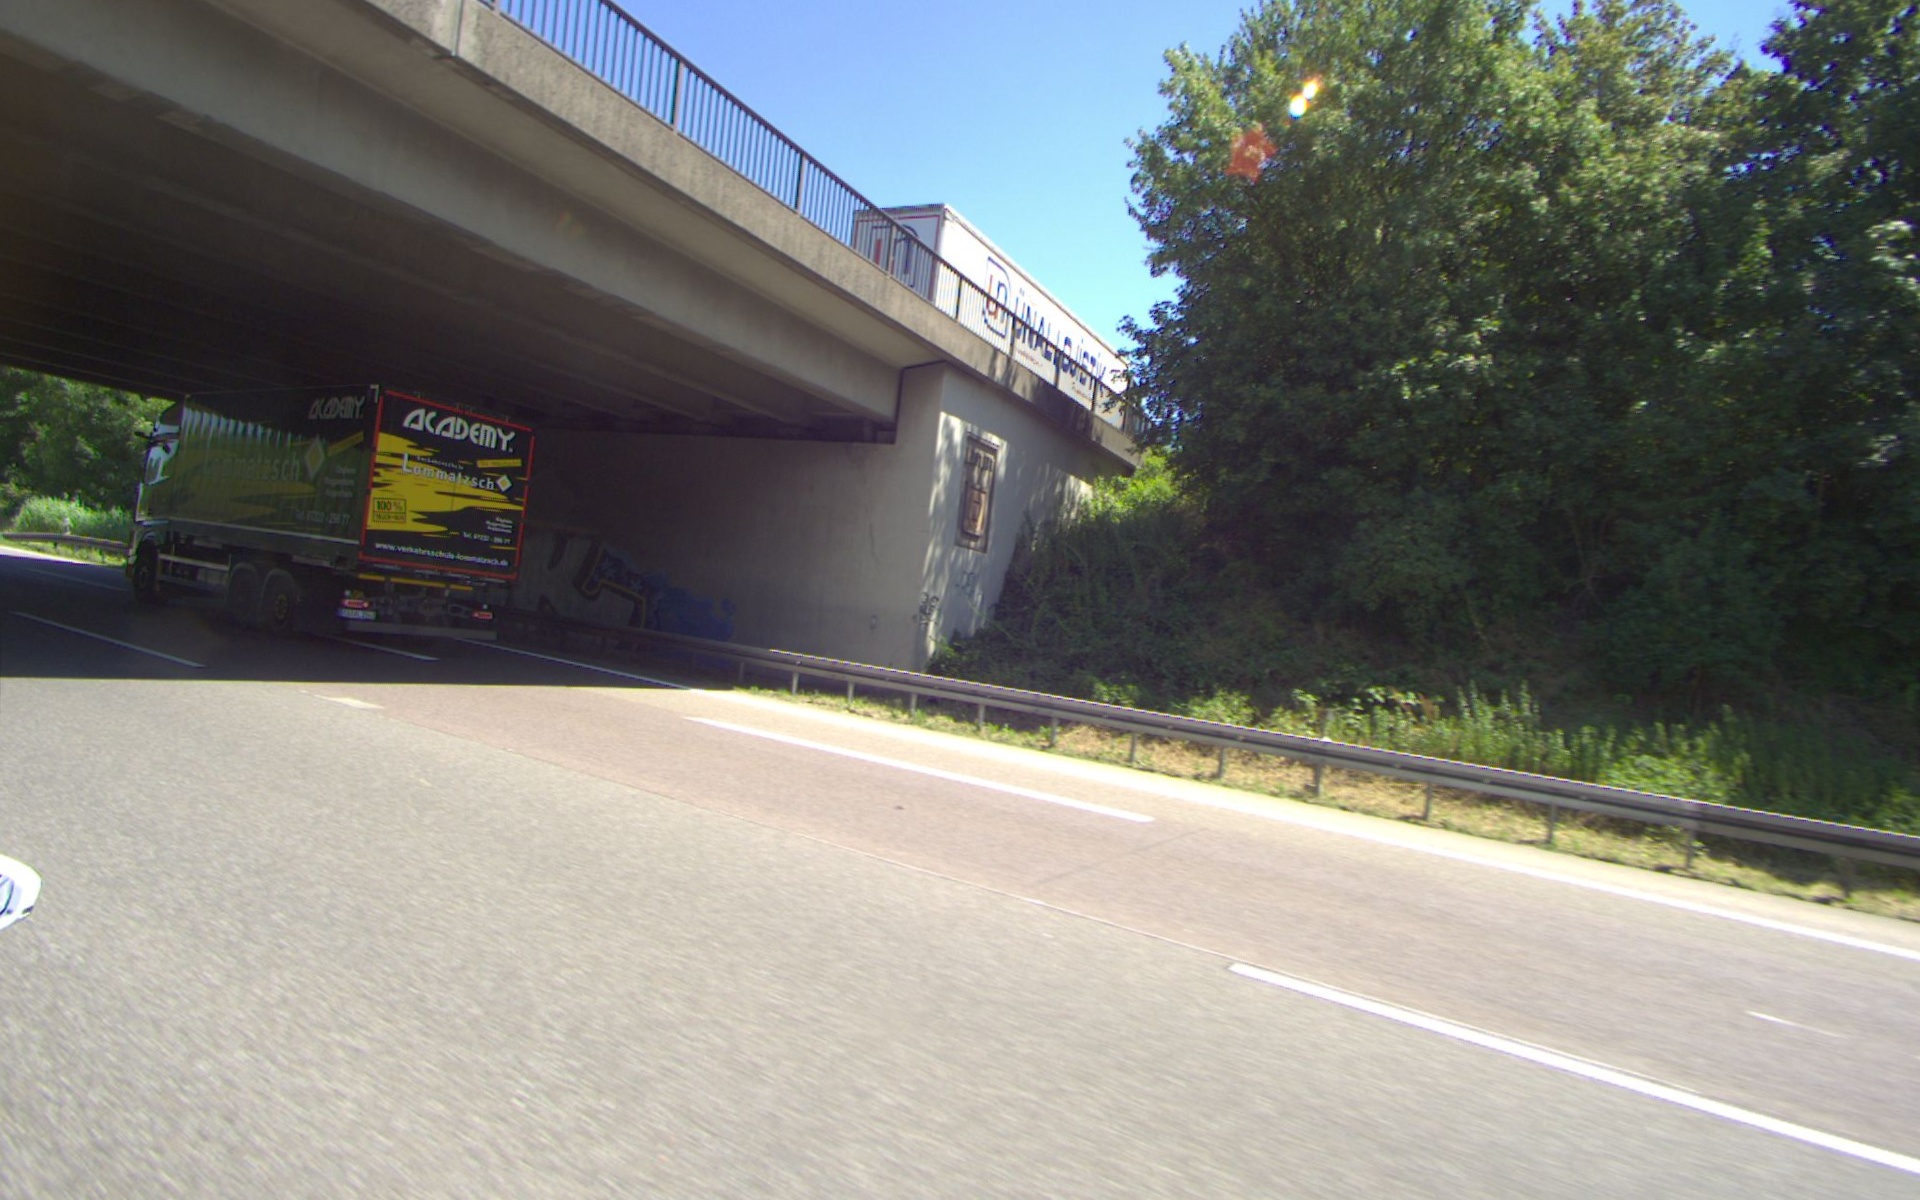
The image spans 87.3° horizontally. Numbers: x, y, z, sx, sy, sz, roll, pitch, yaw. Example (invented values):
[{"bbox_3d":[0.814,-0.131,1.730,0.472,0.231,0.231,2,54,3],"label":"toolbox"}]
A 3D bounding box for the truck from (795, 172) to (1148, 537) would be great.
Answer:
[{"bbox_3d":[1.517,-6.022,30.176,3.119,5.629,16.511,7,-2,27],"label":"truck"}]

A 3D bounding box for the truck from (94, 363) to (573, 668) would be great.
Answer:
[{"bbox_3d":[-11.826,-1.550,18.293,10.808,4.082,2.979,6,-2,35],"label":"truck"}]
